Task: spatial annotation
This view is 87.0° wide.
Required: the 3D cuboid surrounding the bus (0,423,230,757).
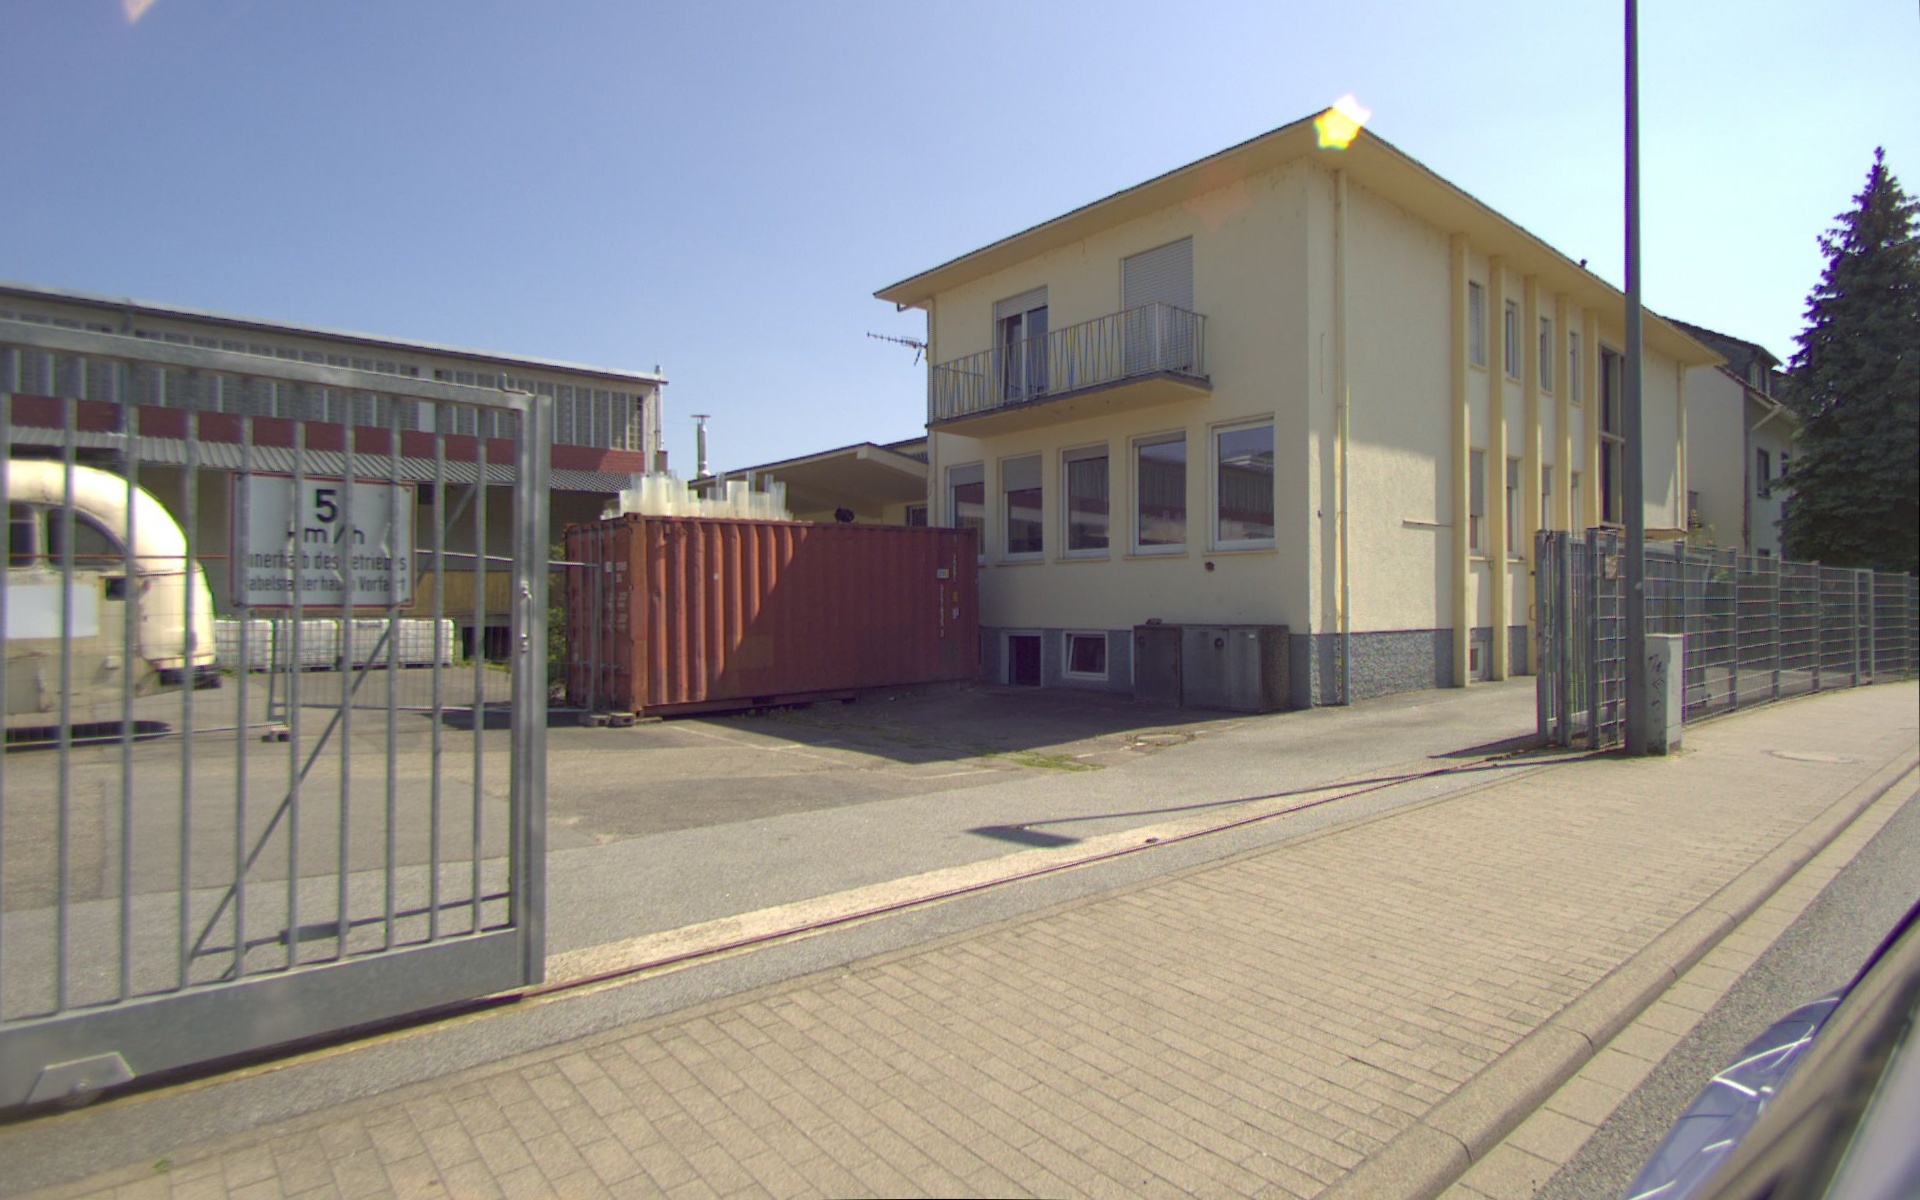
[{"bbox_3d":[-12.542,0.001,8.604,10.088,3.211,2.570,-2,1,-40],"label":"bus"}]
